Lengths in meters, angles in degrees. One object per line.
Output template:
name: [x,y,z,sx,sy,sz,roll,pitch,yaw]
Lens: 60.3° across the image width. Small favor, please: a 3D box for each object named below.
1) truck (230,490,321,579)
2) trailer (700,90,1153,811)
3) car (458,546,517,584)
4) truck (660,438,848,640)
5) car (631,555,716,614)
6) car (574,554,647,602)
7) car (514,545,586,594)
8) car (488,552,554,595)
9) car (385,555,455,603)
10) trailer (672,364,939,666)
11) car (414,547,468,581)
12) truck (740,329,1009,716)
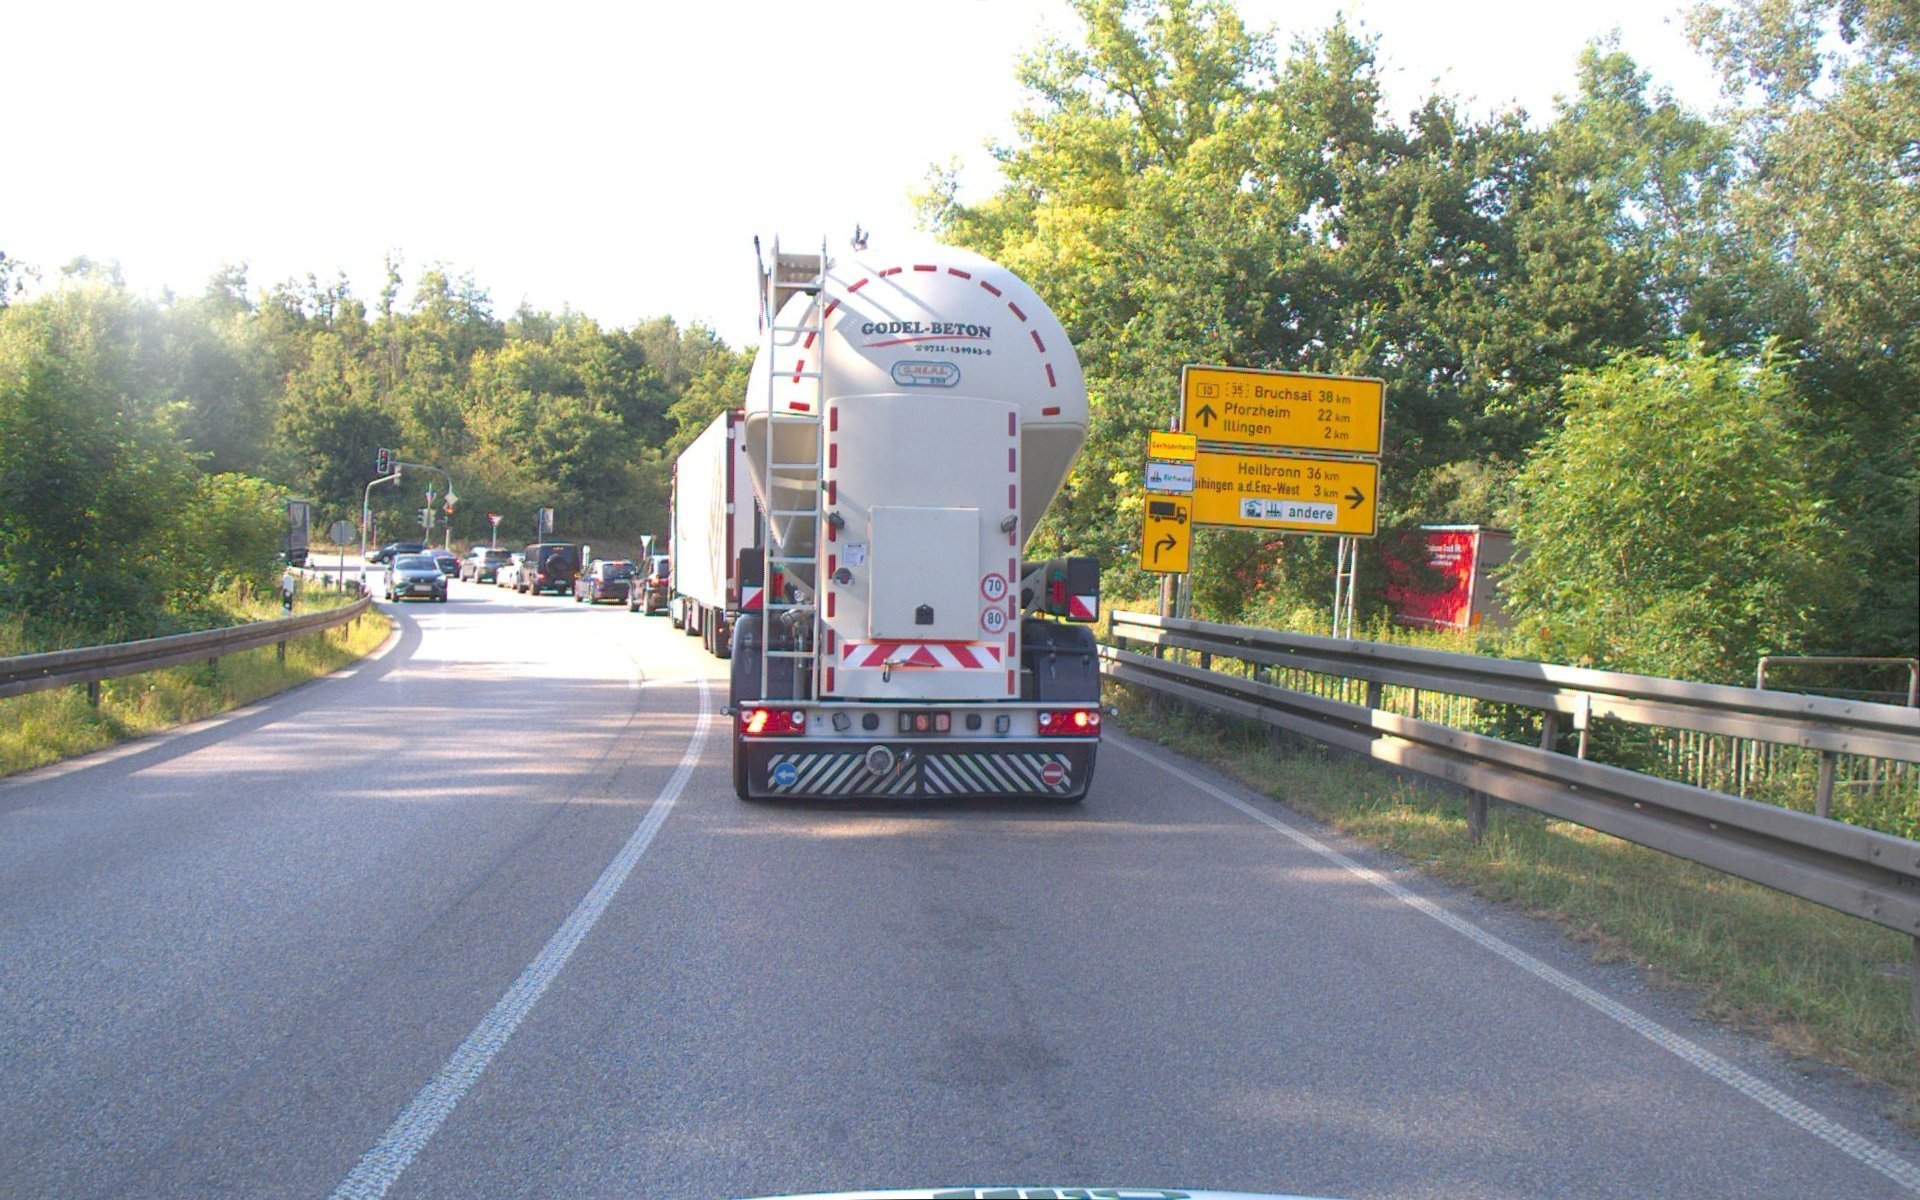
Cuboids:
truck: [-39.264,-3.683,95.205,2.960,4.664,10.207,3,1,-13]
trailer: [-0.675,-0.981,15.370,2.831,4.532,9.594,1,1,-6]
car: [-22.411,-1.685,78.390,1.847,1.622,3.963,3,1,-28]
truck: [-4.936,-1.326,38.397,3.393,4.157,6.465,2,0,-15]
car: [-8.490,-0.500,48.725,1.840,1.656,3.978,0,2,-20]
car: [-12.137,-0.796,57.247,1.841,1.592,3.975,-1,1,-21]
car: [-16.305,-1.243,65.637,1.934,1.883,3.964,-1,2,-28]
car: [-19.279,-1.181,72.548,1.847,1.712,3.963,3,1,-28]
car: [-18.745,-0.764,57.334,1.844,1.592,3.968,0,2,-25]
trailer: [-3.495,-1.393,32.298,3.484,4.591,12.943,2,0,-13]
car: [-26.877,-1.865,85.564,1.847,1.592,3.961,3,0,-29]
truck: [-1.295,-0.847,20.749,2.771,4.105,5.883,1,1,-9]
